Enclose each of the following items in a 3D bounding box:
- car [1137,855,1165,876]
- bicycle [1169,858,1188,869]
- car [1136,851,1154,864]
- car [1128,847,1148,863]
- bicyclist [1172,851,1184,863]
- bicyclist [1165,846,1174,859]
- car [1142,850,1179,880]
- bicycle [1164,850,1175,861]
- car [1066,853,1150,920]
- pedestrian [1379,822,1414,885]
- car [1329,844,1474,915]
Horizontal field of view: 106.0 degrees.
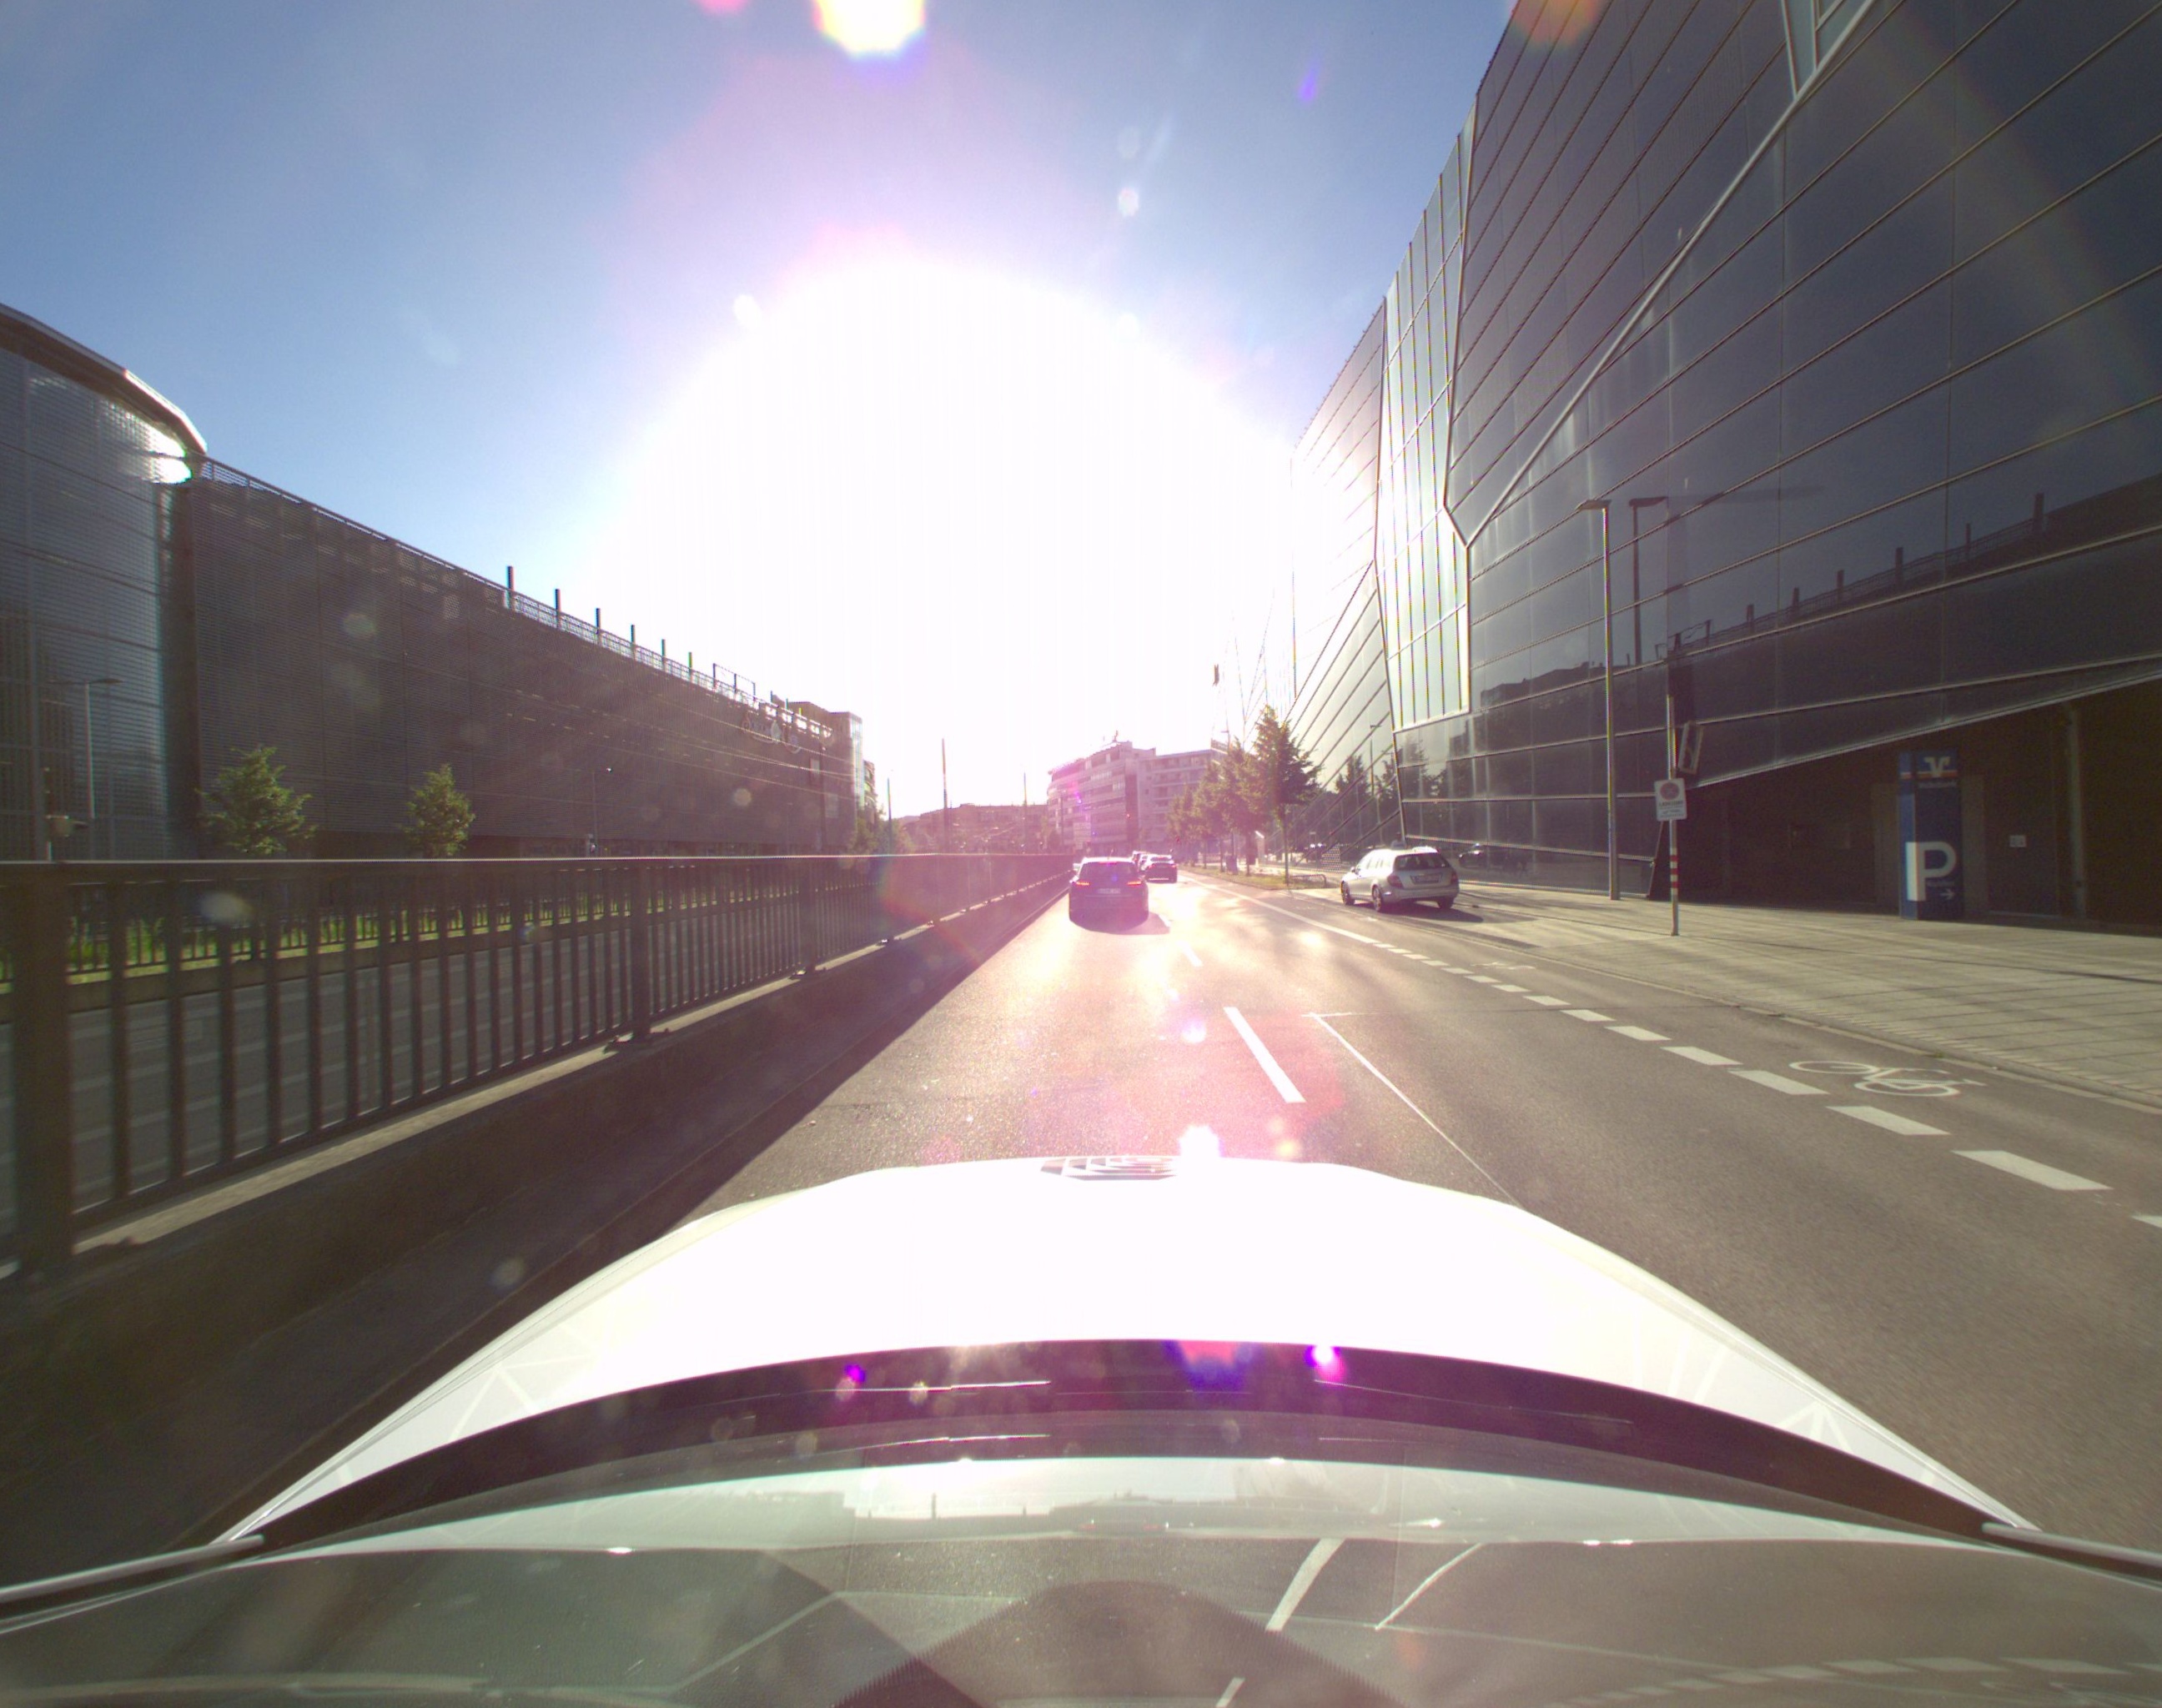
[{"bbox_3d":[5.378,0.837,62.865,1.986,1.465,4.002,-1,1,2],"label":"car"},{"bbox_3d":[10.946,1.048,91.383,2.104,1.184,0.718,-3,0,-40],"label":"bicycle"},{"bbox_3d":[7.291,0.381,93.573,1.985,1.465,4.005,-1,1,4],"label":"car"},{"bbox_3d":[5.764,0.083,82.565,1.985,1.465,4.005,-1,1,4],"label":"car"},{"bbox_3d":[10.861,0.372,91.358,1.041,1.269,0.718,-3,0,-40],"label":"bicyclist"},{"bbox_3d":[9.491,-0.147,87.211,0.723,1.418,0.890,-3,0,-5],"label":"bicyclist"},{"bbox_3d":[4.284,0.546,44.418,1.845,1.546,4.004,0,0,3],"label":"car"},{"bbox_3d":[9.494,0.167,87.189,0.723,1.184,2.090,-3,0,-4],"label":"bicycle"},{"bbox_3d":[0.677,0.734,20.330,1.805,1.427,4.691,-2,0,2],"label":"car"},{"bbox_3d":[10.420,-0.022,26.924,0.833,2.013,0.690,-3,0,3],"label":"pedestrian"},{"bbox_3d":[7.965,0.558,20.760,1.846,1.481,4.856,-3,0,2],"label":"car"}]
